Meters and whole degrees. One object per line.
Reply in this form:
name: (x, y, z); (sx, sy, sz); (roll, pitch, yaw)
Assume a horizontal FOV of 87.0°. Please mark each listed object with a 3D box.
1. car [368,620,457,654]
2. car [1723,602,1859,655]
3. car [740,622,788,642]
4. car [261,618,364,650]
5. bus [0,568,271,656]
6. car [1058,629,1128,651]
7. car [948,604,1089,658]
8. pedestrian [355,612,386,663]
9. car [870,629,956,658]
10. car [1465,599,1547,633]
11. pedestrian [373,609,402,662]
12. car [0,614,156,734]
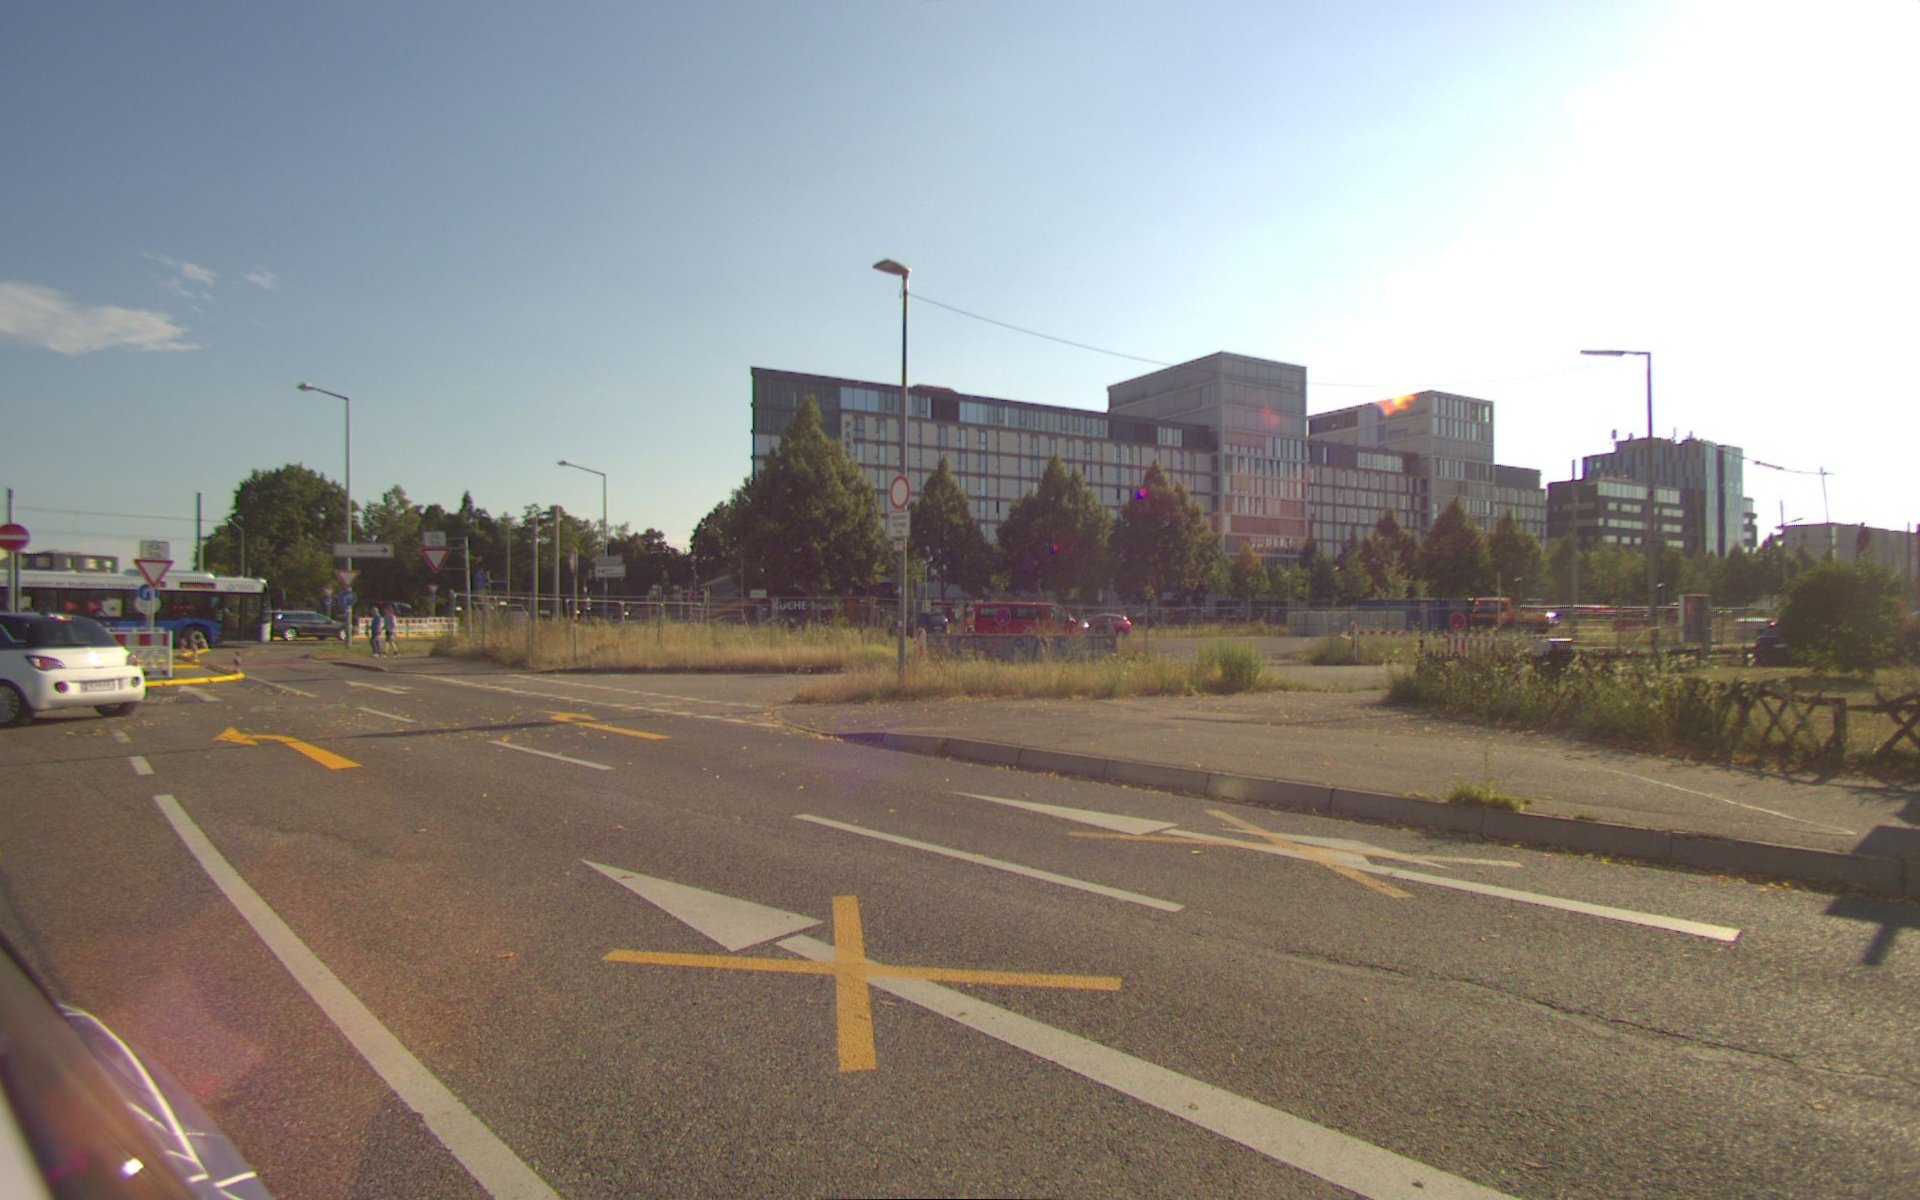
car: (-34.853, 2.303, 64.610); (2.075, 2.063, 5.220); (0, -1, 14)
car: (25.721, 0.871, 31.309); (3.931, 1.564, 2.006); (1, -2, -31)
car: (-14.152, 2.312, 73.358); (1.823, 1.417, 4.684); (0, -2, 11)
car: (-31.717, 1.635, 49.735); (1.791, 1.447, 4.373); (0, -1, 10)
bus: (-33.326, 0.479, 38.154); (2.660, 3.085, 12.035); (-1, -1, 34)
car: (7.628, 2.263, 57.808); (3.867, 1.175, 1.336); (1, -1, -26)
car: (2.276, 1.215, 40.118); (5.227, 2.029, 2.004); (0, -2, -10)
pedestrian: (-20.388, 1.279, 35.000); (0.799, 1.722, 0.788); (1, -2, -38)
car: (-2.403, 2.163, 50.881); (4.245, 1.373, 1.972); (-1, -2, 43)
car: (39.992, 1.181, 74.116); (5.833, 2.459, 2.542); (1, -1, -30)
pedestrian: (-19.570, 1.220, 34.611); (0.759, 1.789, 0.761); (1, -2, -37)
car: (-13.129, 0.928, 13.521); (3.581, 1.432, 1.761); (0, 1, 8)
